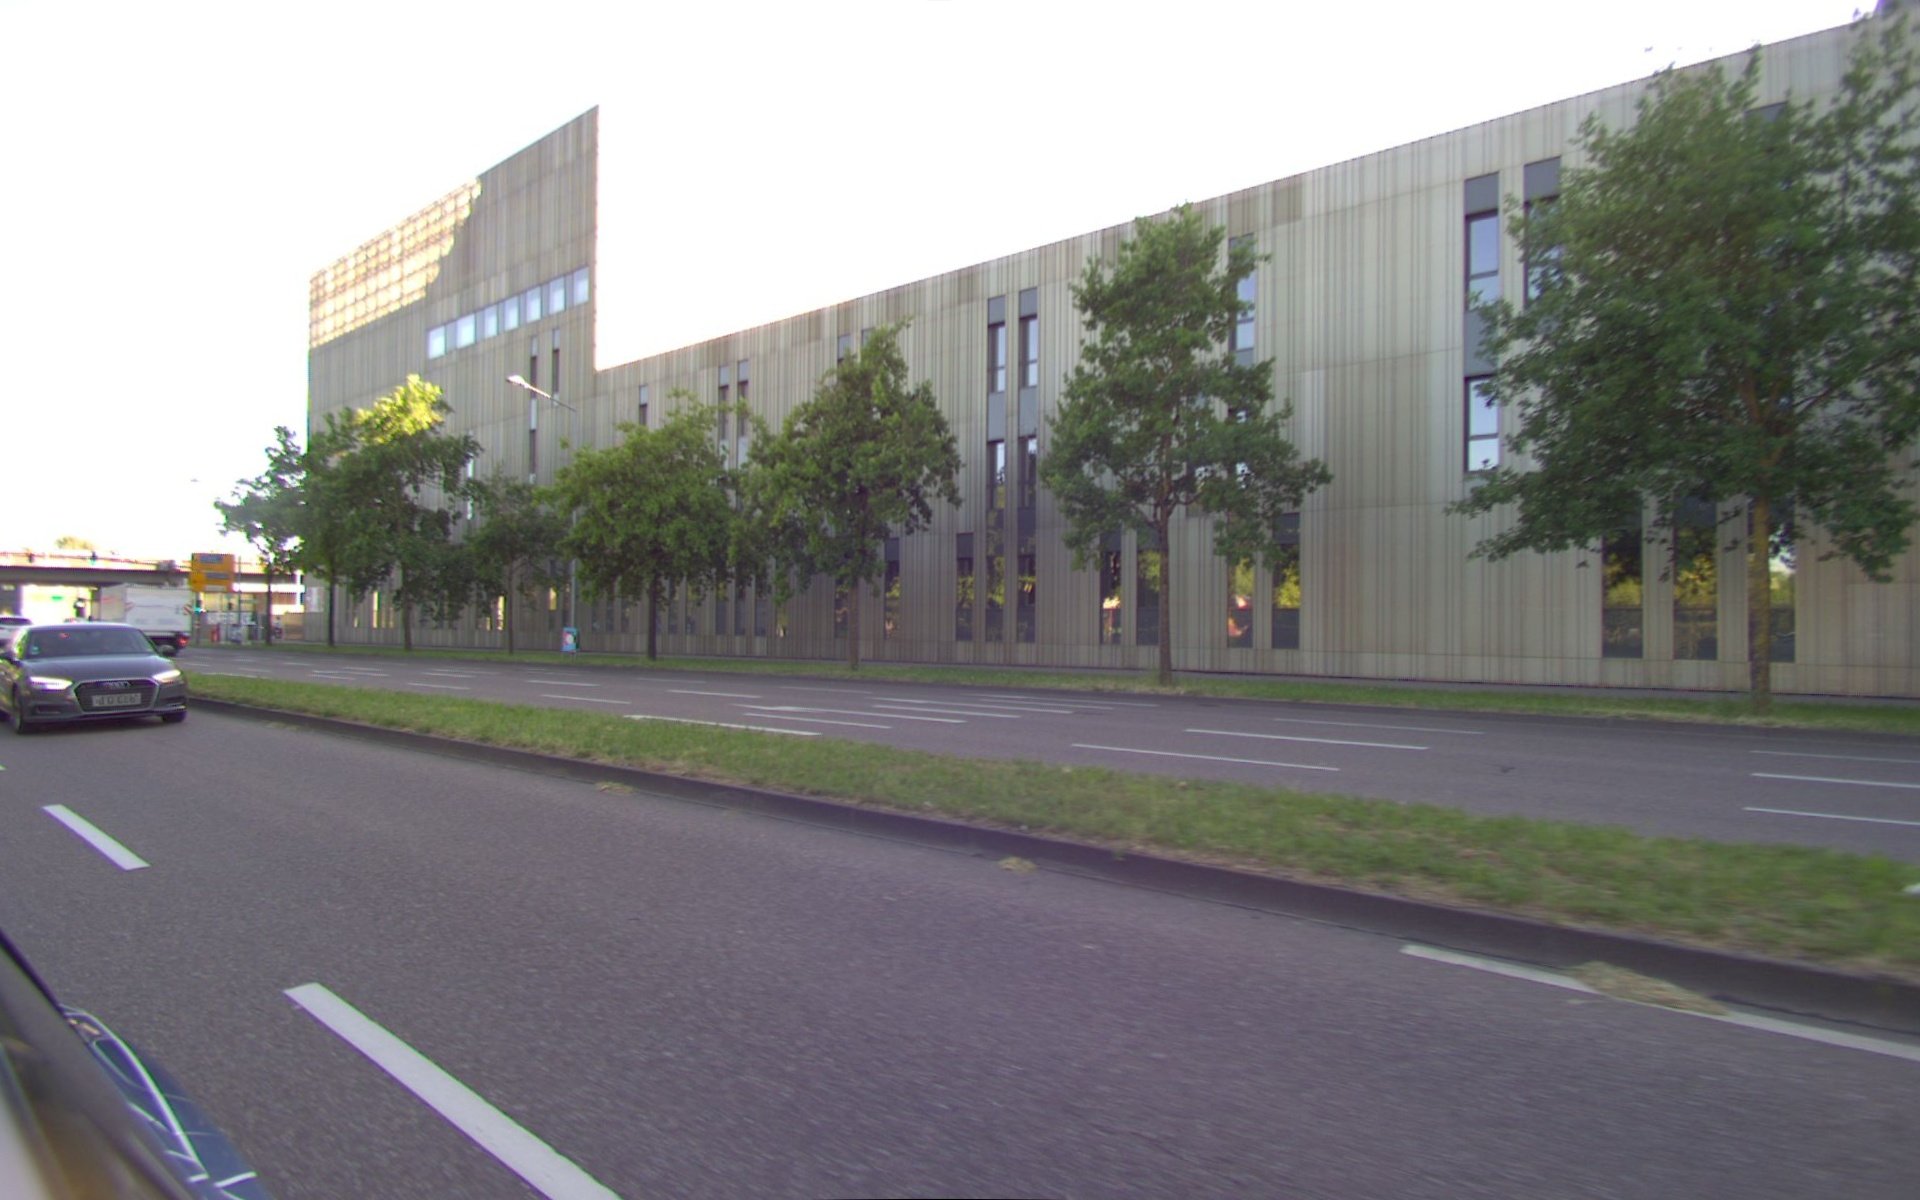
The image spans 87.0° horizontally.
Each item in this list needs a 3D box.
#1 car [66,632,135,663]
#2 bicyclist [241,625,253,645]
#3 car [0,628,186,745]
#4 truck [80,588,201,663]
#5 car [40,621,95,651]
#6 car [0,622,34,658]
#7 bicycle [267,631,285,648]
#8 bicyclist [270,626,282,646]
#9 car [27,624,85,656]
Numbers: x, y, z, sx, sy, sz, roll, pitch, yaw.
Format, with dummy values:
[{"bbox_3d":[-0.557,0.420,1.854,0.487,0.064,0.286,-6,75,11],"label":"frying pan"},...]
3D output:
[{"bbox_3d":[-41.353,2.271,48.684,3.996,1.435,1.817,-2,-4,39],"label":"car"},{"bbox_3d":[-53.334,2.614,75.697,0.752,1.453,0.502,-2,-3,39],"label":"bicyclist"},{"bbox_3d":[-12.591,1.099,14.272,4.360,1.415,1.681,-1,-2,39],"label":"car"},{"bbox_3d":[-35.619,1.140,43.911,7.108,2.983,2.659,-1,-4,40],"label":"truck"},{"bbox_3d":[-46.795,1.907,53.047,3.637,1.481,1.604,-2,-4,40],"label":"car"},{"bbox_3d":[-46.975,1.931,49.493,4.654,1.695,1.806,-1,-4,39],"label":"car"},{"bbox_3d":[-51.247,2.979,75.783,2.097,1.280,0.507,-2,-3,39],"label":"bicycle"},{"bbox_3d":[-51.211,2.672,75.765,0.644,1.518,0.502,-2,-3,39],"label":"bicyclist"},{"bbox_3d":[-50.538,2.226,56.577,3.997,1.669,1.822,0,-3,40],"label":"car"}]
